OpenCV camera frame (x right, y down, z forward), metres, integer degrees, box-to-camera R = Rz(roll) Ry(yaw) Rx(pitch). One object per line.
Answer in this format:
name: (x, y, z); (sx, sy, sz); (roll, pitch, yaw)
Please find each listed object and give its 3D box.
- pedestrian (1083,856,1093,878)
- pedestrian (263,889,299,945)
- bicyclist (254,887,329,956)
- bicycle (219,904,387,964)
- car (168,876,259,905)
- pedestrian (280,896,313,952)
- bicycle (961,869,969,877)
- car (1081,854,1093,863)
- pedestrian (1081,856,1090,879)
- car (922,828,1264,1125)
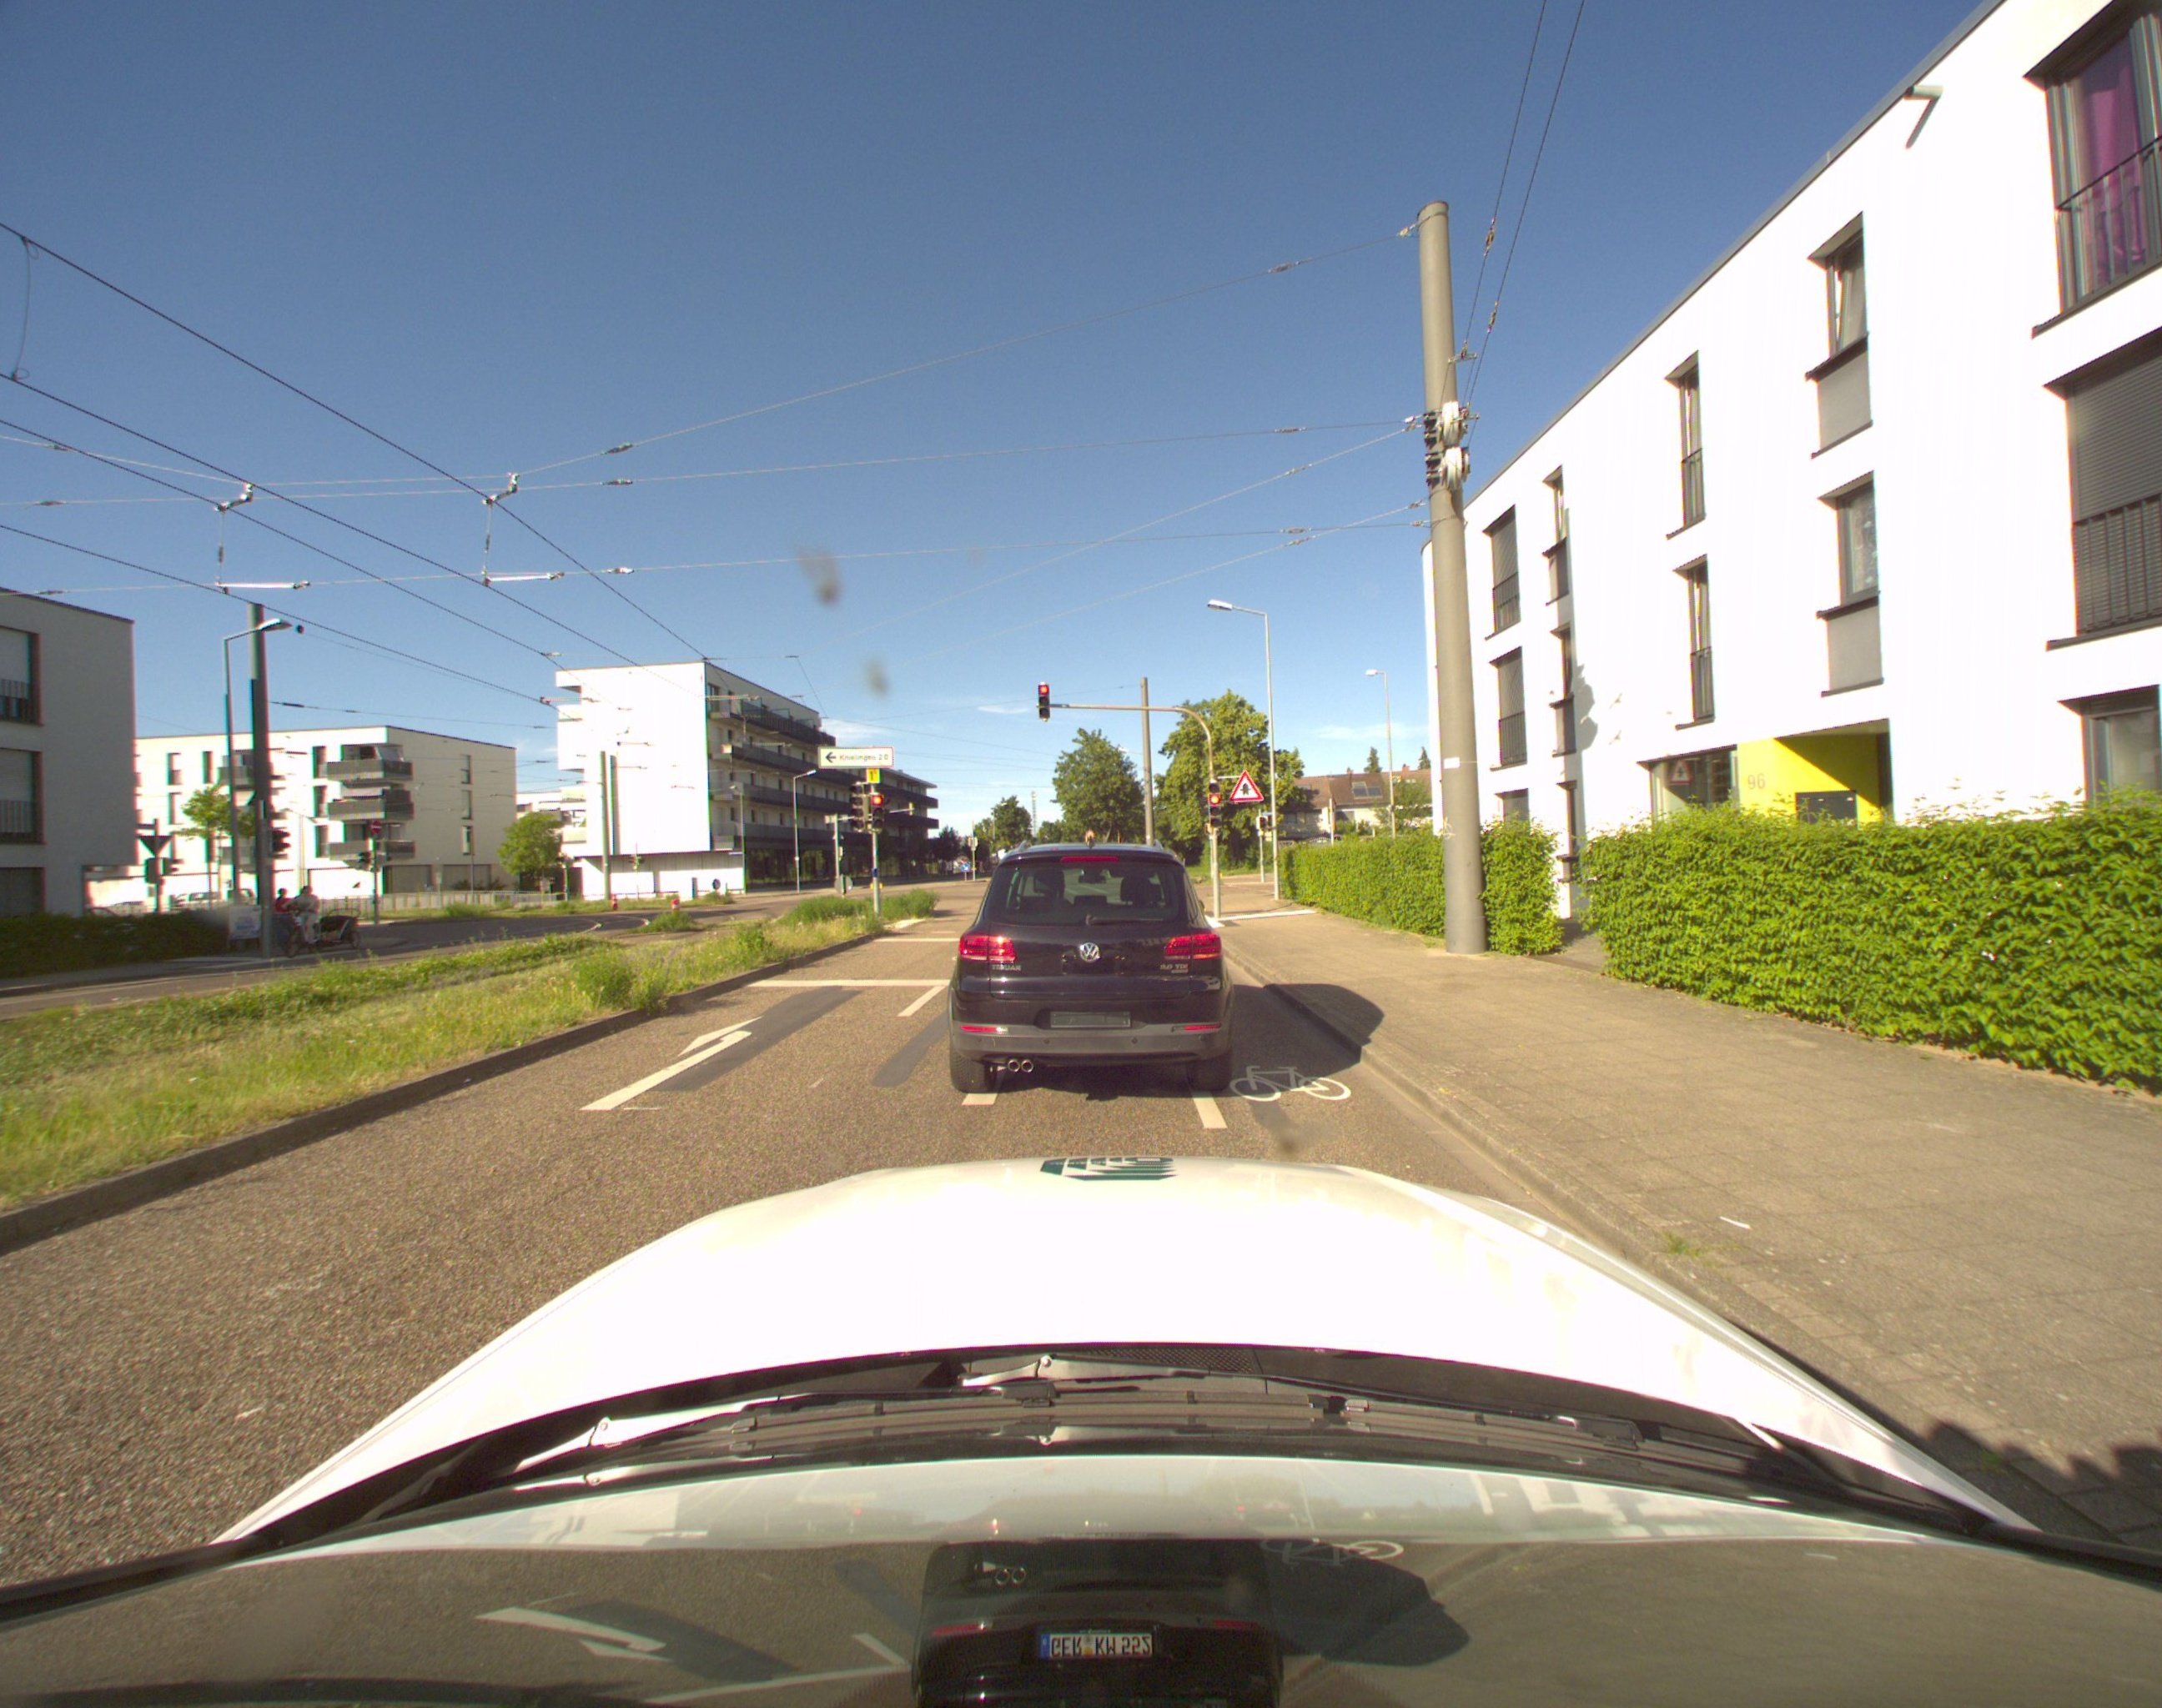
pedestrian: (0.513, 0.961, 59.212); (0.600, 1.565, 0.530); (-1, 0, 6)
pedestrian: (-21.962, 1.725, 22.373); (0.561, 1.464, 0.735); (-1, 0, -33)
bicyclist: (-19.759, 1.679, 20.414); (0.971, 1.630, 0.911); (-1, 0, -5)
bicycle: (-19.792, 1.999, 20.923); (0.994, 1.174, 3.688); (1, 0, -5)
car: (-58.713, 2.461, 55.172); (3.974, 1.838, 2.000); (-1, 0, 0)
pedestrian: (-21.284, 1.887, 22.102); (0.561, 1.464, 0.605); (-1, 0, -36)
bicycle: (-13.626, 2.208, 95.767); (0.493, 0.848, 2.082); (-1, 0, 6)
car: (0.976, 0.704, 123.130); (1.745, 1.387, 4.000); (-1, 0, 0)
pedestrian: (0.345, 0.980, 59.920); (0.600, 1.640, 0.530); (-1, 0, 6)
car: (0.090, 0.689, 6.595); (1.899, 1.643, 4.000); (-1, 0, 0)
